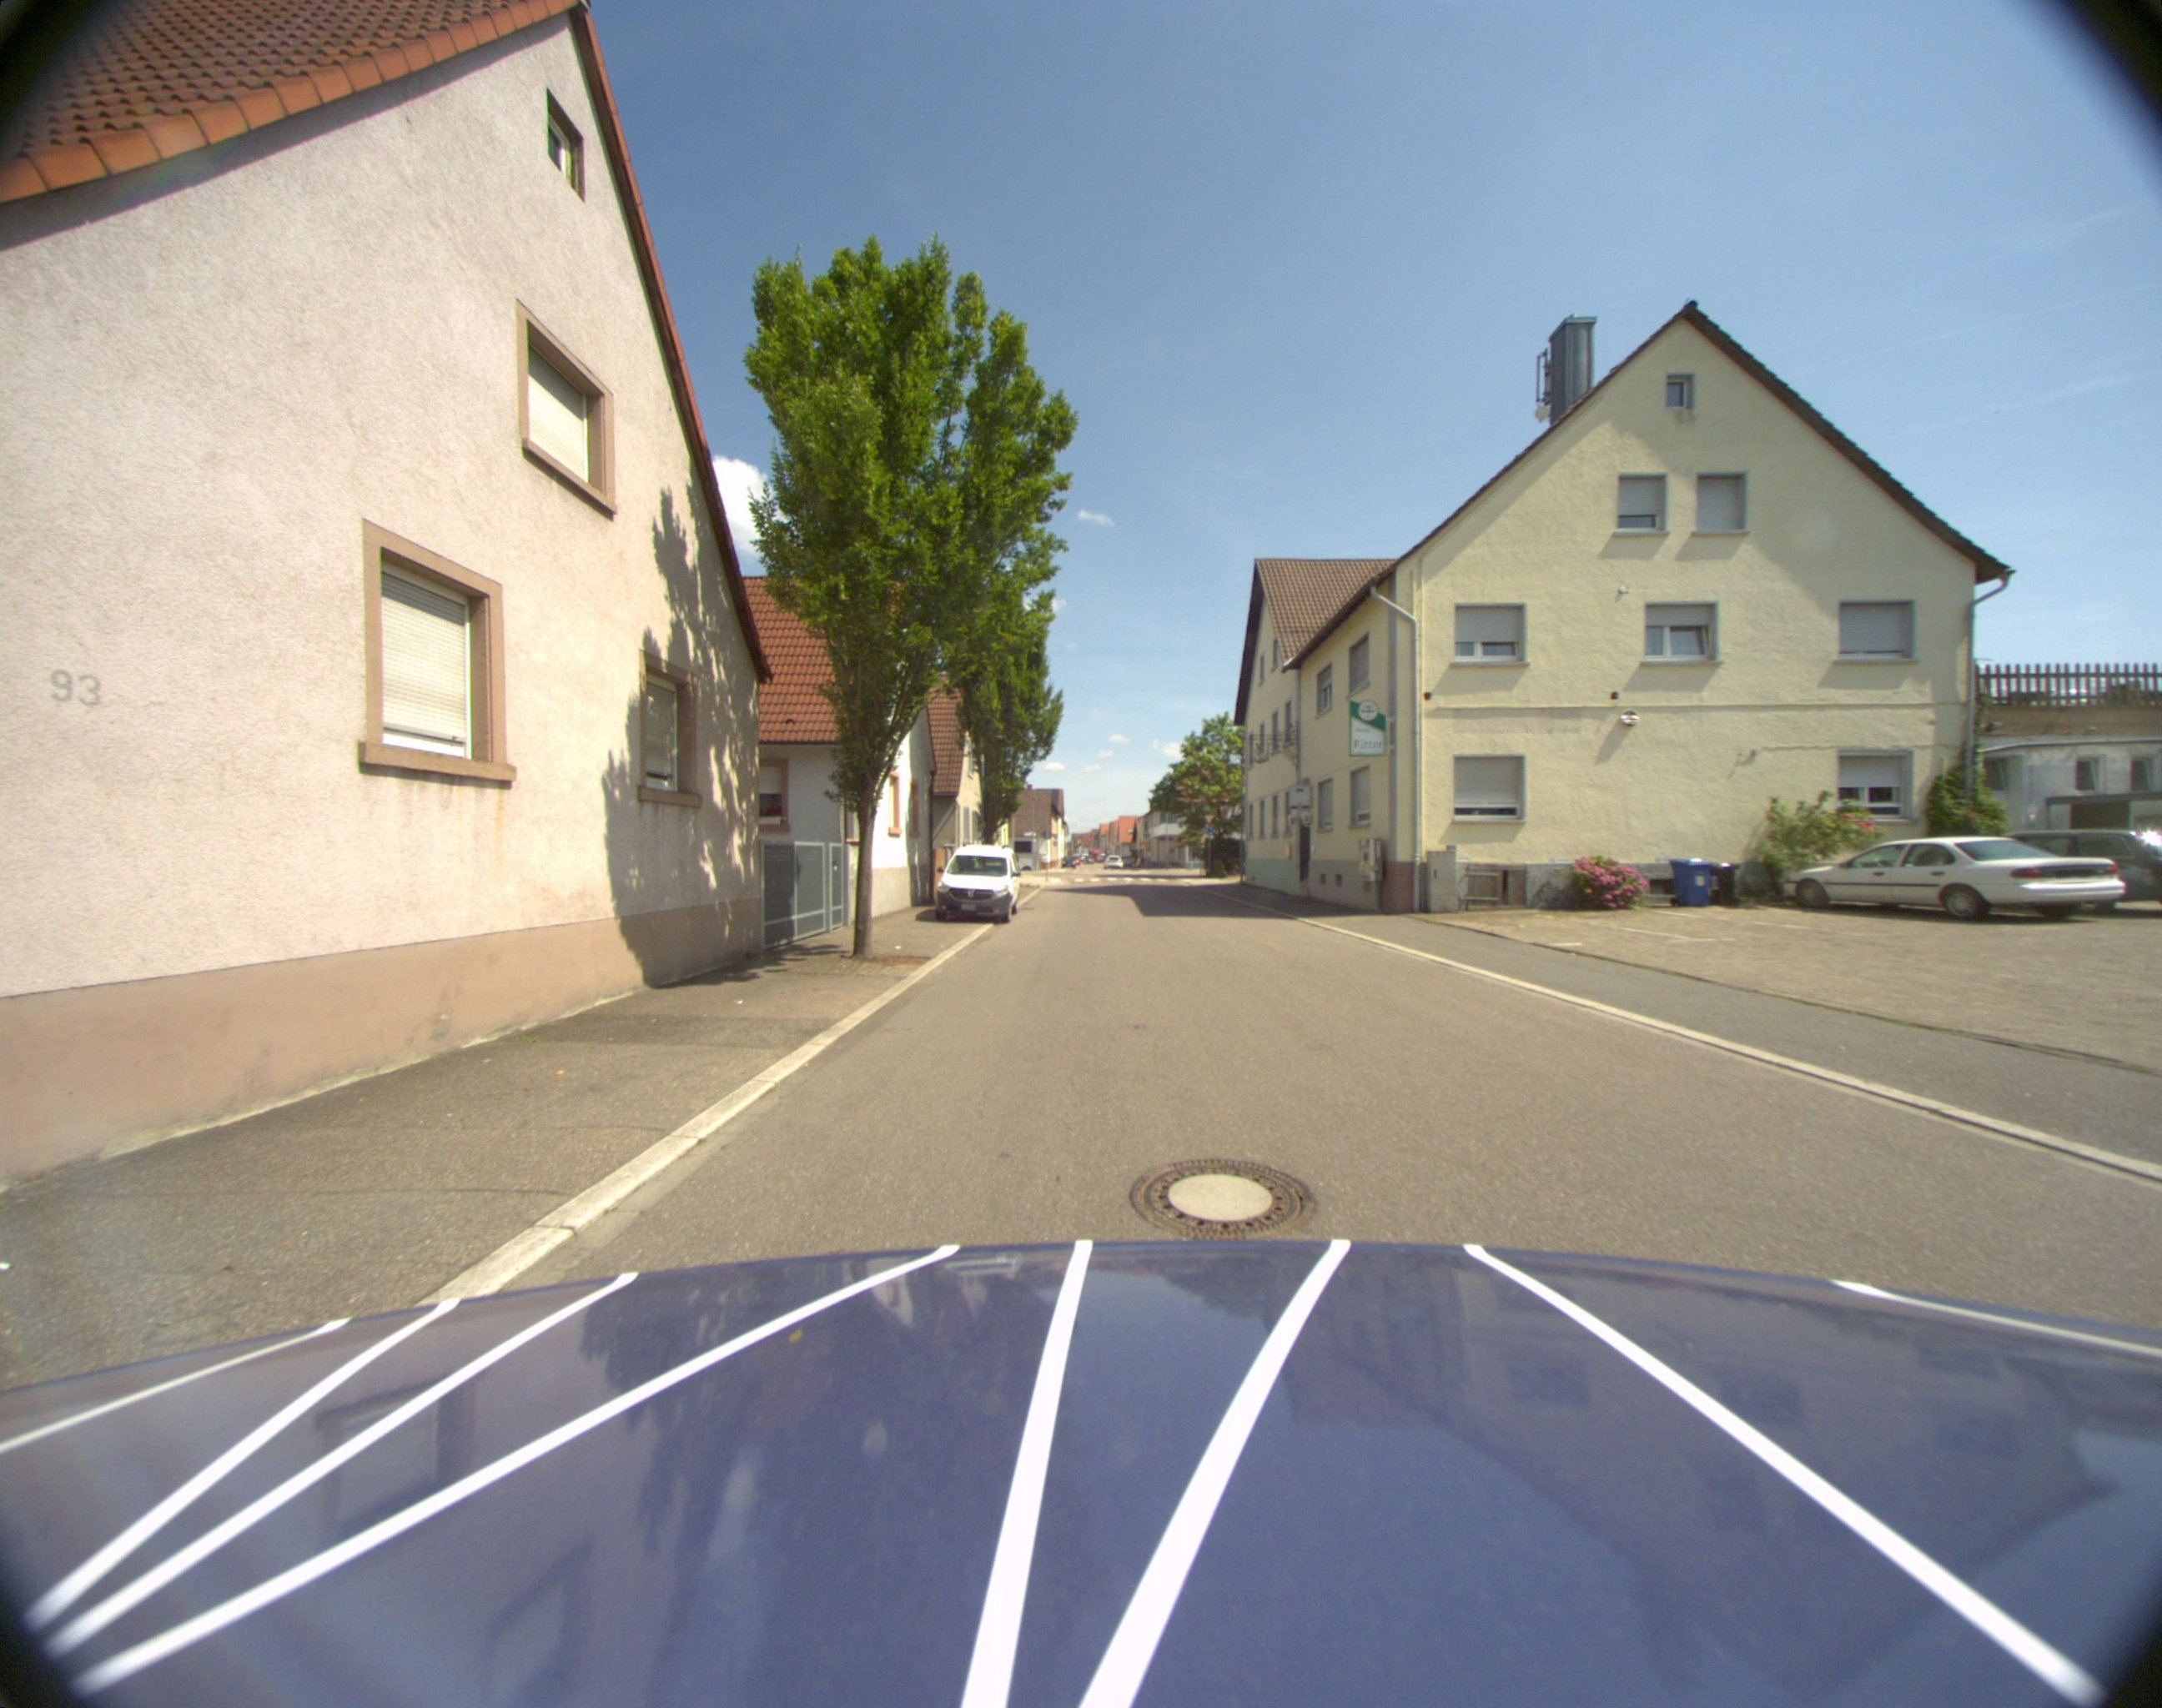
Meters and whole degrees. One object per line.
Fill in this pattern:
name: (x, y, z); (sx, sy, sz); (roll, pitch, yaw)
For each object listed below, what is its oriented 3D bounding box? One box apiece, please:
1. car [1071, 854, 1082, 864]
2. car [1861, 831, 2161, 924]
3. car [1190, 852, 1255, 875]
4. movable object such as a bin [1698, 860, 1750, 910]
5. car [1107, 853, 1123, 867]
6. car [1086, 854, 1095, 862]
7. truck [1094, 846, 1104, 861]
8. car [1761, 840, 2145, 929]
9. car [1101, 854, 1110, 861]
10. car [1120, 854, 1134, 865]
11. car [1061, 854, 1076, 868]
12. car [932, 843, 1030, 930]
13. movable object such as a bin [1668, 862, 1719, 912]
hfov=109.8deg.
car: (-0.724, 0.702, 115.773); (1.598, 1.385, 4.170); (-1, -2, 1)
car: (18.253, 0.342, 14.506); (1.828, 1.472, 4.829); (-2, 0, 1)
car: (10.767, 0.707, 57.902); (4.449, 1.609, 1.806); (-1, 1, -15)
movable object such as a bin: (14.350, 0.689, 16.969); (0.579, 1.066, 0.680); (-1, 1, 2)
car: (3.565, 0.619, 80.422); (1.598, 1.385, 4.168); (-1, 0, 2)
car: (1.643, 0.690, 133.085); (1.598, 1.385, 4.168); (-1, 0, 0)
truck: (4.332, -0.226, 185.766); (1.999, 3.420, 7.073); (-2, 1, -2)
car: (15.960, 0.466, 14.437); (1.828, 1.372, 4.829); (-2, 0, 1)
car: (4.832, 0.694, 151.663); (1.726, 1.385, 4.170); (-1, -2, 2)
car: (5.895, 0.715, 97.478); (1.726, 1.385, 4.170); (-1, -2, 2)
car: (-1.375, 0.829, 87.100); (1.598, 1.385, 4.170); (-1, -2, 1)
car: (-2.352, 0.695, 19.027); (1.692, 1.832, 4.764); (2, 0, 1)
movable object such as a bin: (13.652, 0.717, 16.946); (0.579, 1.066, 0.680); (-1, 1, 2)
